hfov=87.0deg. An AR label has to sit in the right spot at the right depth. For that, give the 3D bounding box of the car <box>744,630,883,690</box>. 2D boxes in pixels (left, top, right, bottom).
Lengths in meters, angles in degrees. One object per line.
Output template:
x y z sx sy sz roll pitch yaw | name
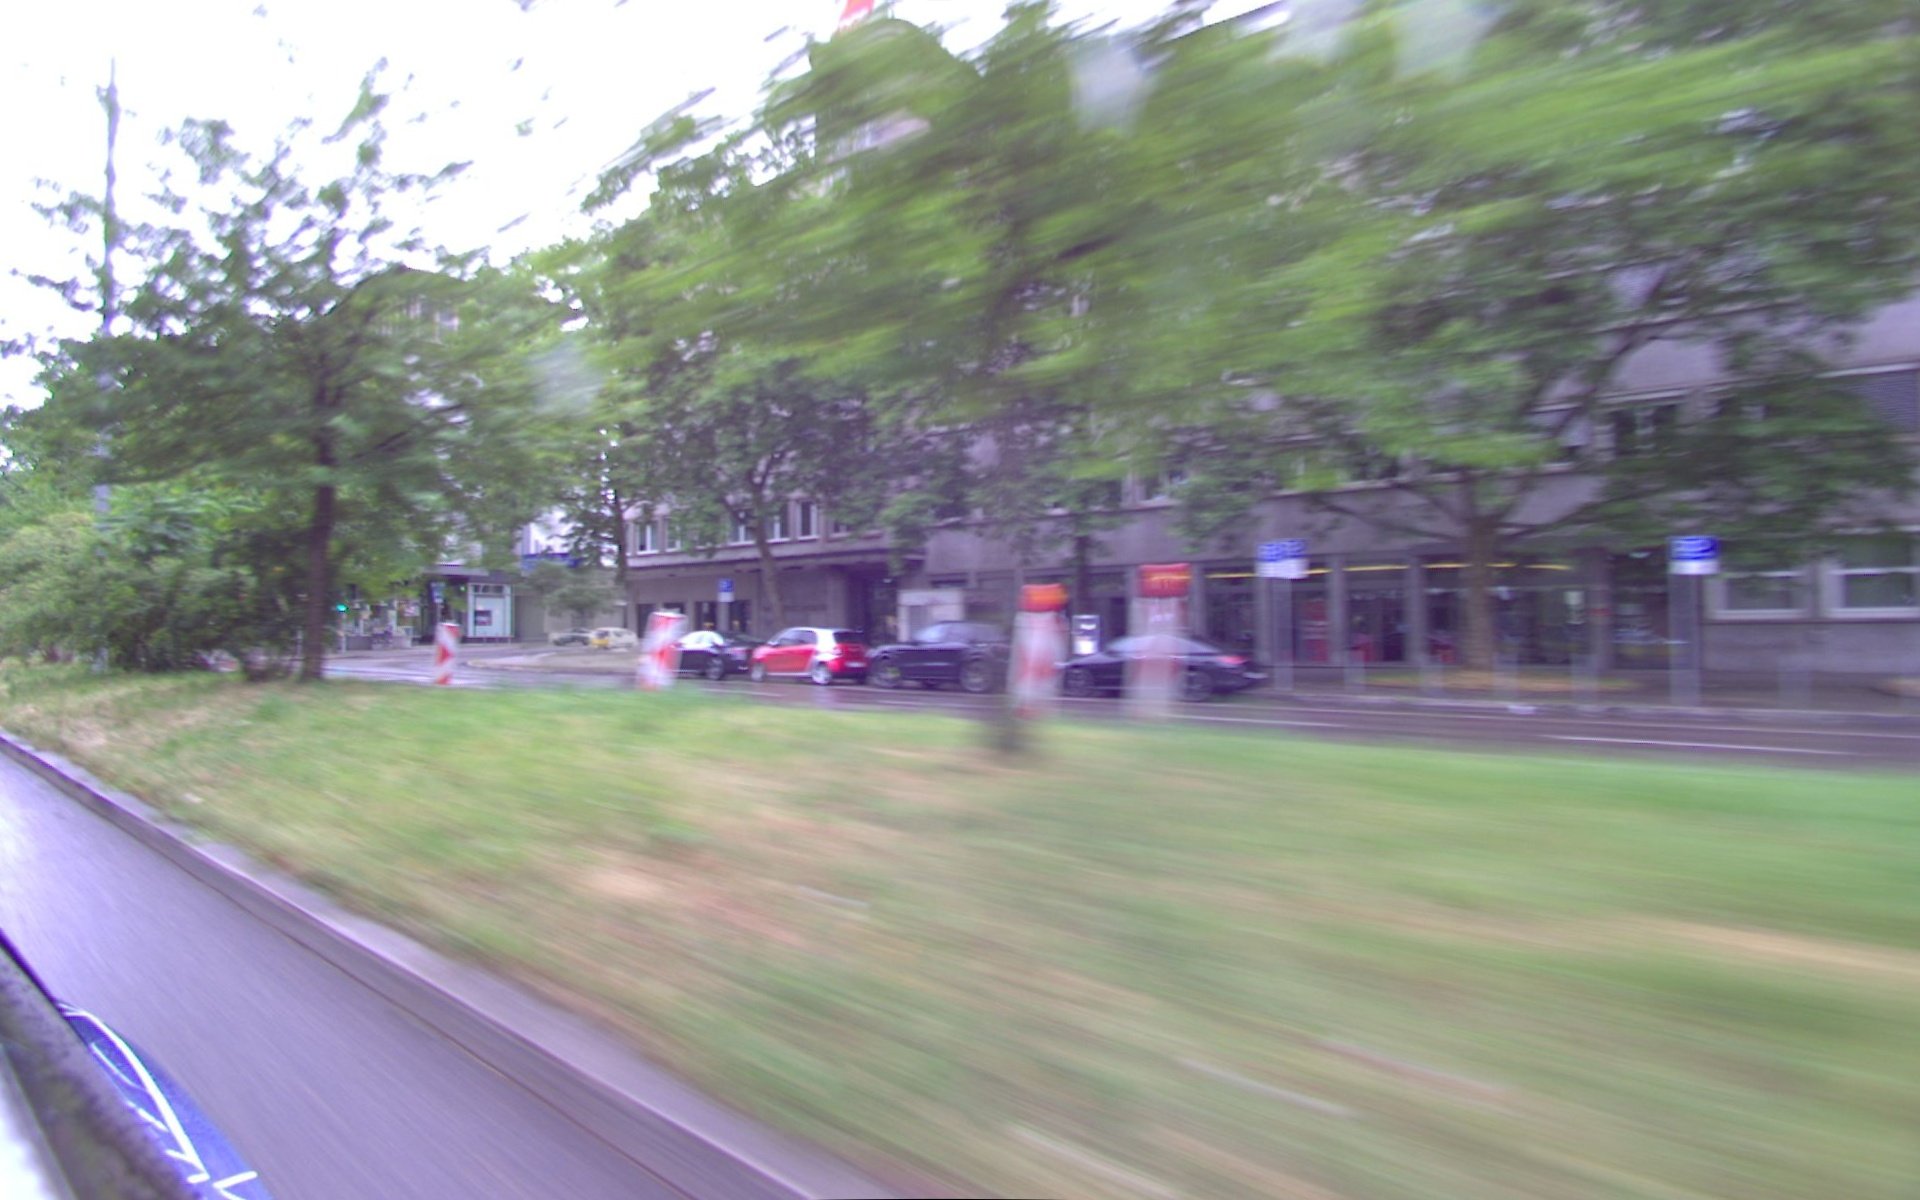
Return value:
-3.997 1.589 27.378 3.687 1.514 1.670 -2 -3 38 | car

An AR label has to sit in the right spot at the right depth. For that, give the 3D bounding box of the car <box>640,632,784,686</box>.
-7.472 1.737 30.350 4.569 1.498 1.768 -2 -3 38 | car

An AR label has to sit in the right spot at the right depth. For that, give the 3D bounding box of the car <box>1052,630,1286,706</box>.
4.374 1.395 21.562 4.559 1.440 1.844 -2 -3 38 | car

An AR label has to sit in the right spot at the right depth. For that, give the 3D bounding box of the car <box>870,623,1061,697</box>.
0.078 1.413 24.513 4.461 1.634 1.844 -2 -3 38 | car
